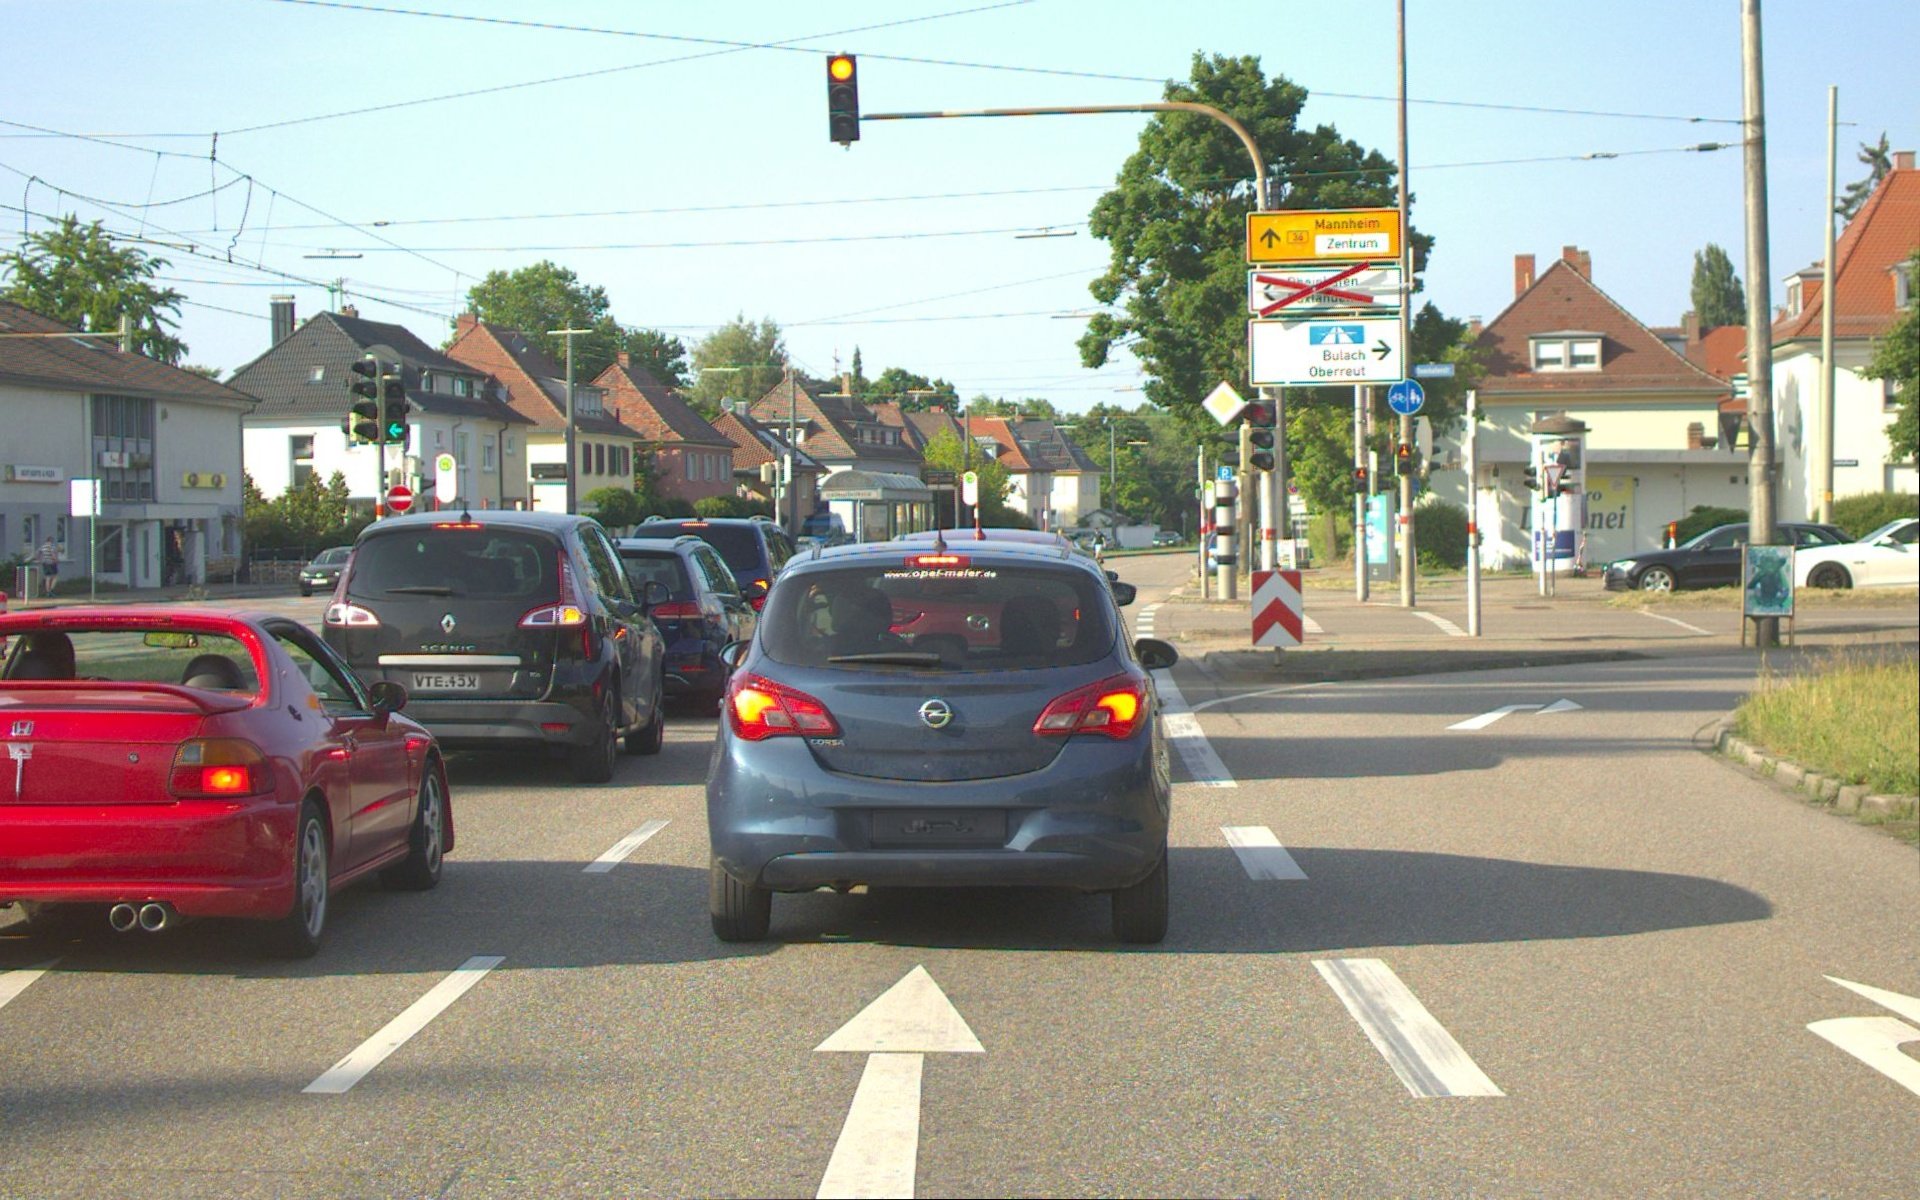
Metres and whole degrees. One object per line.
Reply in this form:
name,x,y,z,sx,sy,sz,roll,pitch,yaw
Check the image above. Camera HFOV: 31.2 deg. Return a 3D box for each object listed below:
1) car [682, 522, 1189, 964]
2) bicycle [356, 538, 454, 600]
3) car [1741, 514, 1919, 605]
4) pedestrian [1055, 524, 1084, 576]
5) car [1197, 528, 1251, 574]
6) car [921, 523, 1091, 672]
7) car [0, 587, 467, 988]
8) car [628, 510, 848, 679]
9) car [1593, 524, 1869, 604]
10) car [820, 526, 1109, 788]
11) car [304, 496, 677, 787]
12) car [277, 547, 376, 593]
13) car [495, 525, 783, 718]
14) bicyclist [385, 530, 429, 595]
car,-0.110,0.453,14.084,1.741,1.500,4.223,1,1,-1
bicycle,-12.473,-0.693,77.316,2.073,1.343,1.109,1,0,-5
car,16.456,-0.730,60.422,5.095,1.557,1.840,-1,1,5
pedestrian,3.167,-1.443,99.701,0.753,1.494,0.827,1,0,6
car,8.376,-1.542,109.230,1.675,1.393,3.999,1,0,4
car,0.496,-0.065,35.799,1.656,1.438,4.014,-1,1,1
car,-3.075,0.605,13.162,1.731,1.202,3.847,1,1,1
car,-2.273,-0.109,36.278,1.507,1.645,4.743,-1,1,6
car,14.360,-0.677,64.217,4.824,1.406,1.715,-1,1,5
car,0.058,0.298,22.582,1.706,1.546,3.978,-1,1,1
car,-2.860,0.192,21.747,1.763,1.665,4.084,0,1,1
car,-19.161,-0.915,104.162,1.664,1.341,4.075,-1,0,9
car,-2.625,0.116,29.134,1.700,1.503,4.553,0,1,4
bicyclist,-12.424,-0.847,77.311,0.884,1.426,1.137,1,0,-5
